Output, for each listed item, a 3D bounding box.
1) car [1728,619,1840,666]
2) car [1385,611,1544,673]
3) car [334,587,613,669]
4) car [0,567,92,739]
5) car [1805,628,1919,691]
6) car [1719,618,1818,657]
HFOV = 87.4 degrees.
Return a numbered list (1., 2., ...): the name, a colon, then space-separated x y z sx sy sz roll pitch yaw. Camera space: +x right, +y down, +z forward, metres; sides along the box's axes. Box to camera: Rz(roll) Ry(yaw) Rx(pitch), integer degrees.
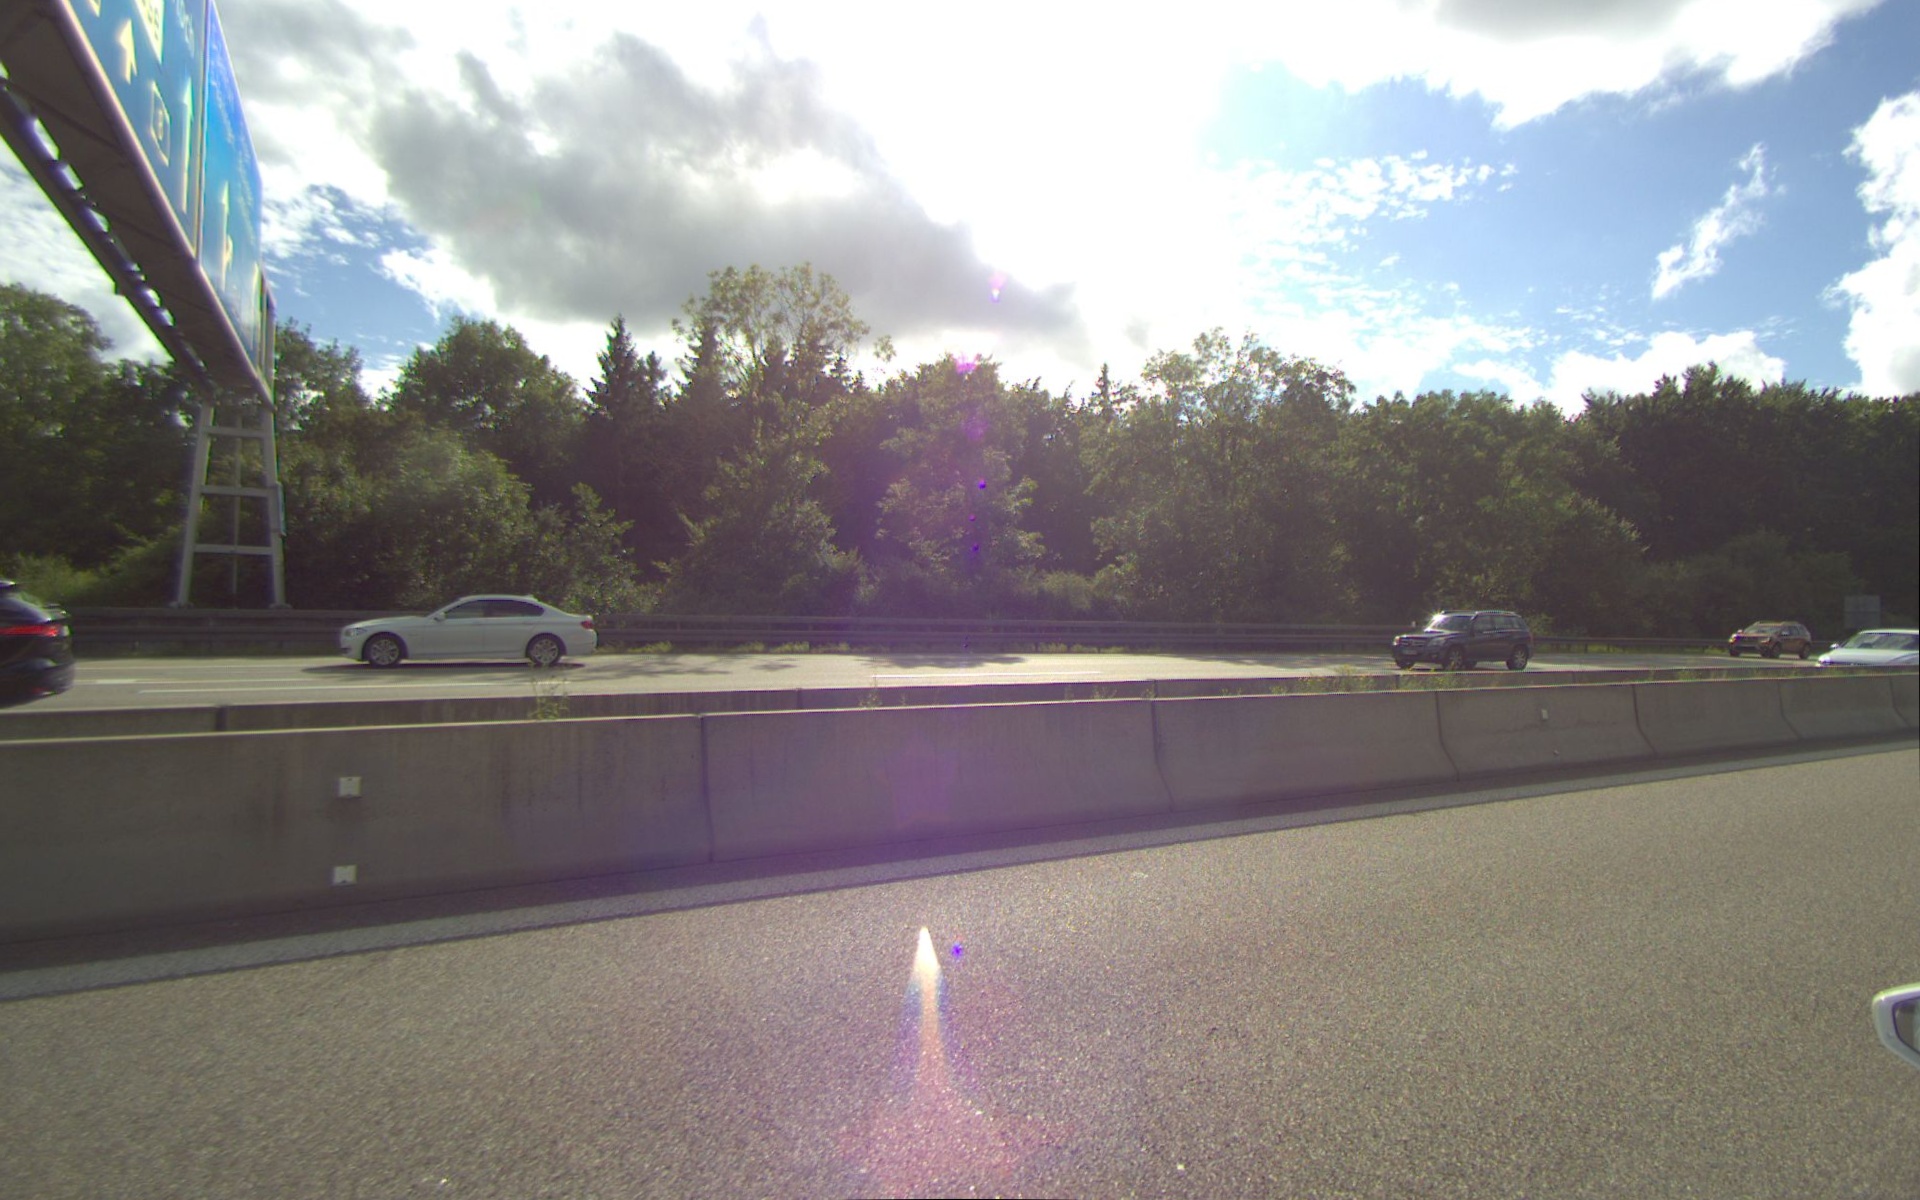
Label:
1. car: 33.306 1.703 40.587 4.366 1.739 1.921 1 0 -28
2. car: 14.513 1.197 28.872 4.417 1.661 1.662 1 0 -24
3. car: -10.109 0.592 21.175 5.065 1.566 1.810 1 0 -27
4. car: -11.094 0.470 9.306 4.456 1.651 1.686 1 0 -37
5. car: 22.207 1.361 23.771 4.820 1.327 1.716 1 0 -28
6. car: 37.779 1.745 46.914 4.364 1.739 1.922 1 0 -26
